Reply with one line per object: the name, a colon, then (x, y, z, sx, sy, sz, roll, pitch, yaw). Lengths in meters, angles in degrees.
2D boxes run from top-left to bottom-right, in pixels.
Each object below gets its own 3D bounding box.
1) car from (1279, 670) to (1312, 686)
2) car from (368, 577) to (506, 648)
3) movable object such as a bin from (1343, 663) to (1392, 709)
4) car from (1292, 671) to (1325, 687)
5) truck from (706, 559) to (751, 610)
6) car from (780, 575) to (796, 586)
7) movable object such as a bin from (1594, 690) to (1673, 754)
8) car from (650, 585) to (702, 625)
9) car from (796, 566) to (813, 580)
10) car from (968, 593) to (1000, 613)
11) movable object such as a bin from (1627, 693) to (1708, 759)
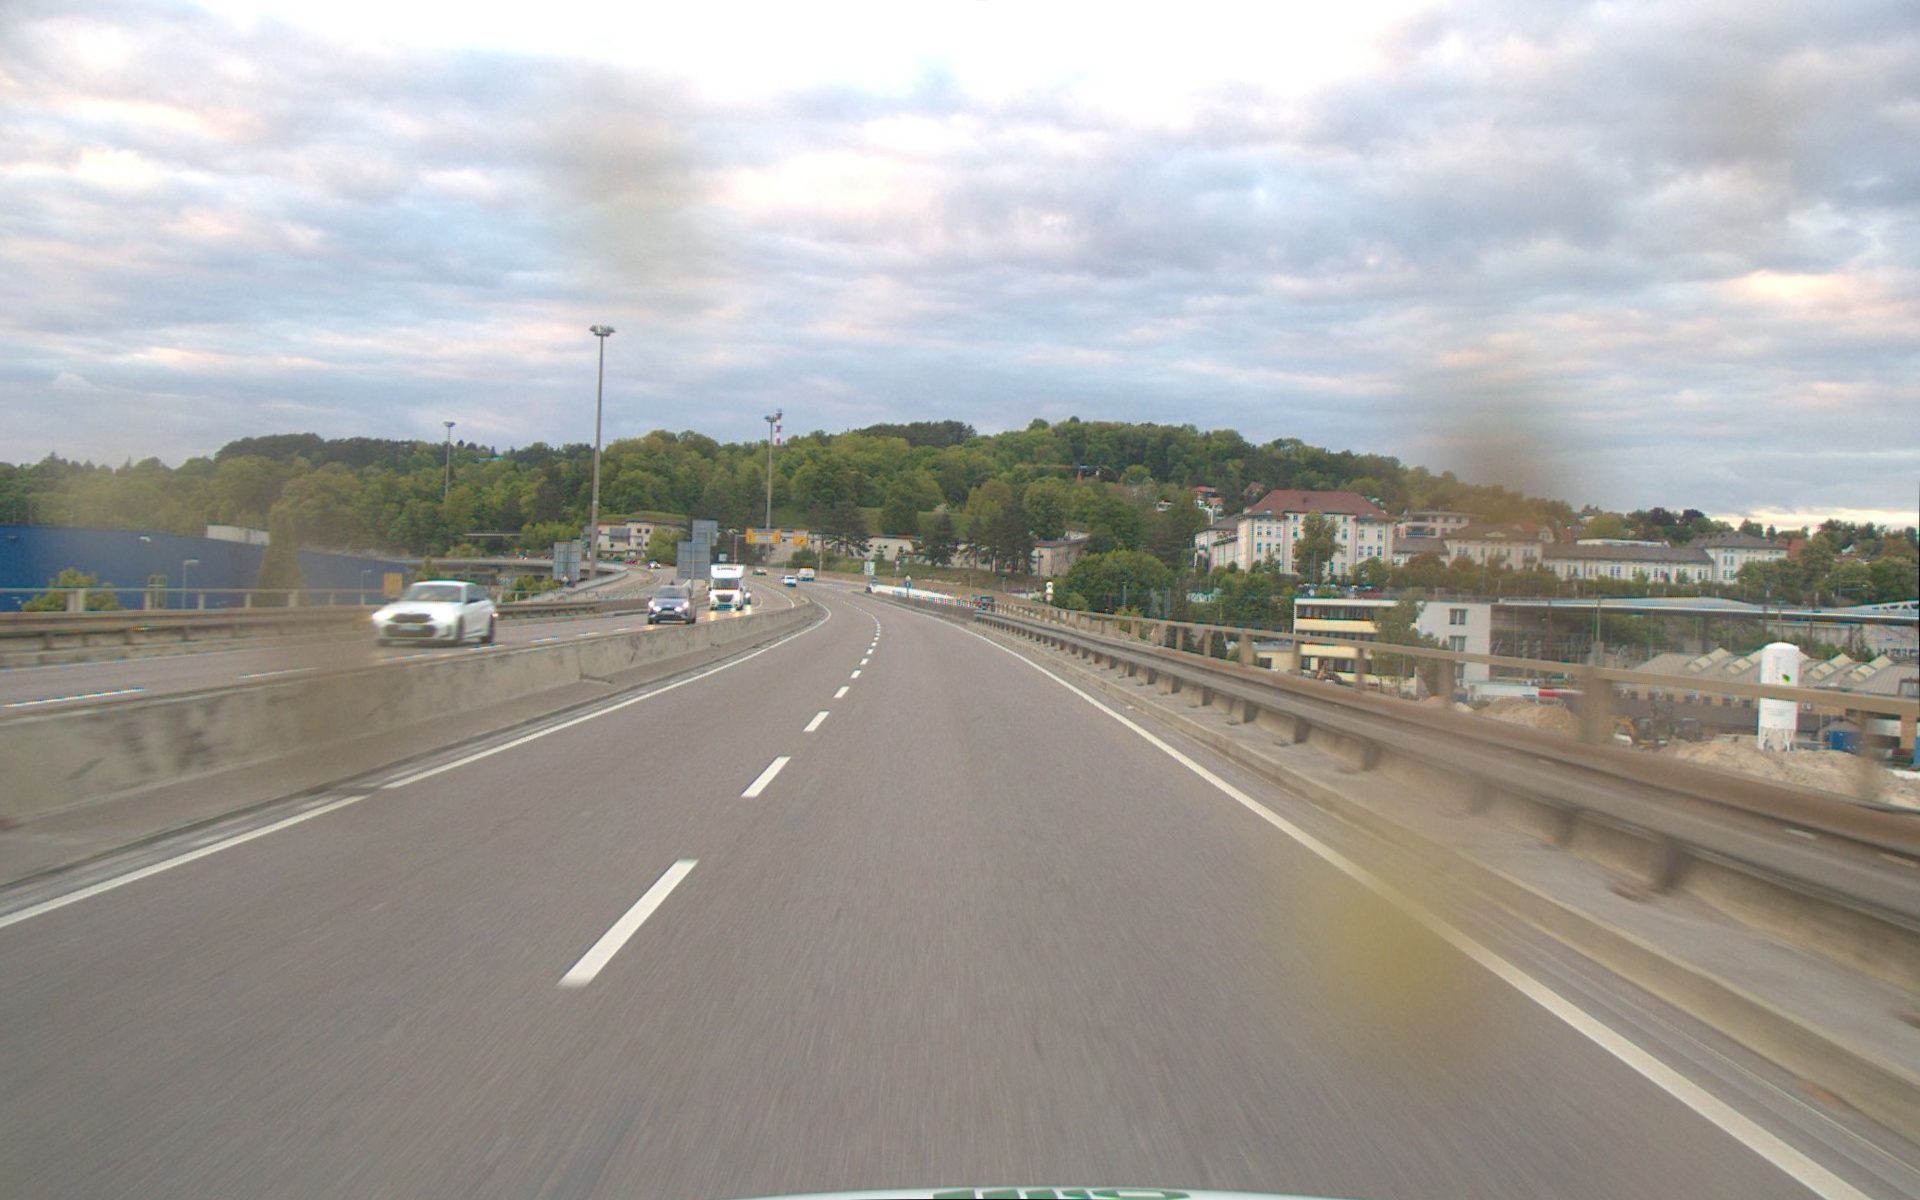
car: (41.721, 9.655, 205.828, 3.959, 1.592, 1.808, 5, 2, -38)
car: (-11.945, 0.258, 38.082, 1.794, 1.529, 4.814, 0, 0, -2)
movable object such as a bin: (45.634, 9.614, 185.320, 2.732, 4.382, 4.937, 8, -1, -16)
car: (42.697, 9.668, 202.693, 3.959, 1.592, 1.808, 5, 2, -38)
truck: (-15.714, -1.033, 112.752, 2.484, 3.354, 7.440, 1, 0, -4)
car: (-23.777, -2.684, 228.656, 1.603, 1.412, 3.987, 0, 2, -13)
movable object such as a bin: (54.307, 9.841, 133.440, 4.868, 4.382, 2.770, 8, -1, -19)
car: (-11.193, 0.163, 65.377, 1.596, 1.466, 3.834, 1, 1, -3)
car: (-24.574, -4.310, 261.260, 1.962, 2.048, 4.090, 2, 2, -17)
car: (2.319, 0.283, 161.024, 2.264, 1.794, 4.250, 3, 1, -12)
movable object such as a bin: (55.458, 9.857, 129.677, 4.868, 4.382, 2.770, 8, -1, -19)
